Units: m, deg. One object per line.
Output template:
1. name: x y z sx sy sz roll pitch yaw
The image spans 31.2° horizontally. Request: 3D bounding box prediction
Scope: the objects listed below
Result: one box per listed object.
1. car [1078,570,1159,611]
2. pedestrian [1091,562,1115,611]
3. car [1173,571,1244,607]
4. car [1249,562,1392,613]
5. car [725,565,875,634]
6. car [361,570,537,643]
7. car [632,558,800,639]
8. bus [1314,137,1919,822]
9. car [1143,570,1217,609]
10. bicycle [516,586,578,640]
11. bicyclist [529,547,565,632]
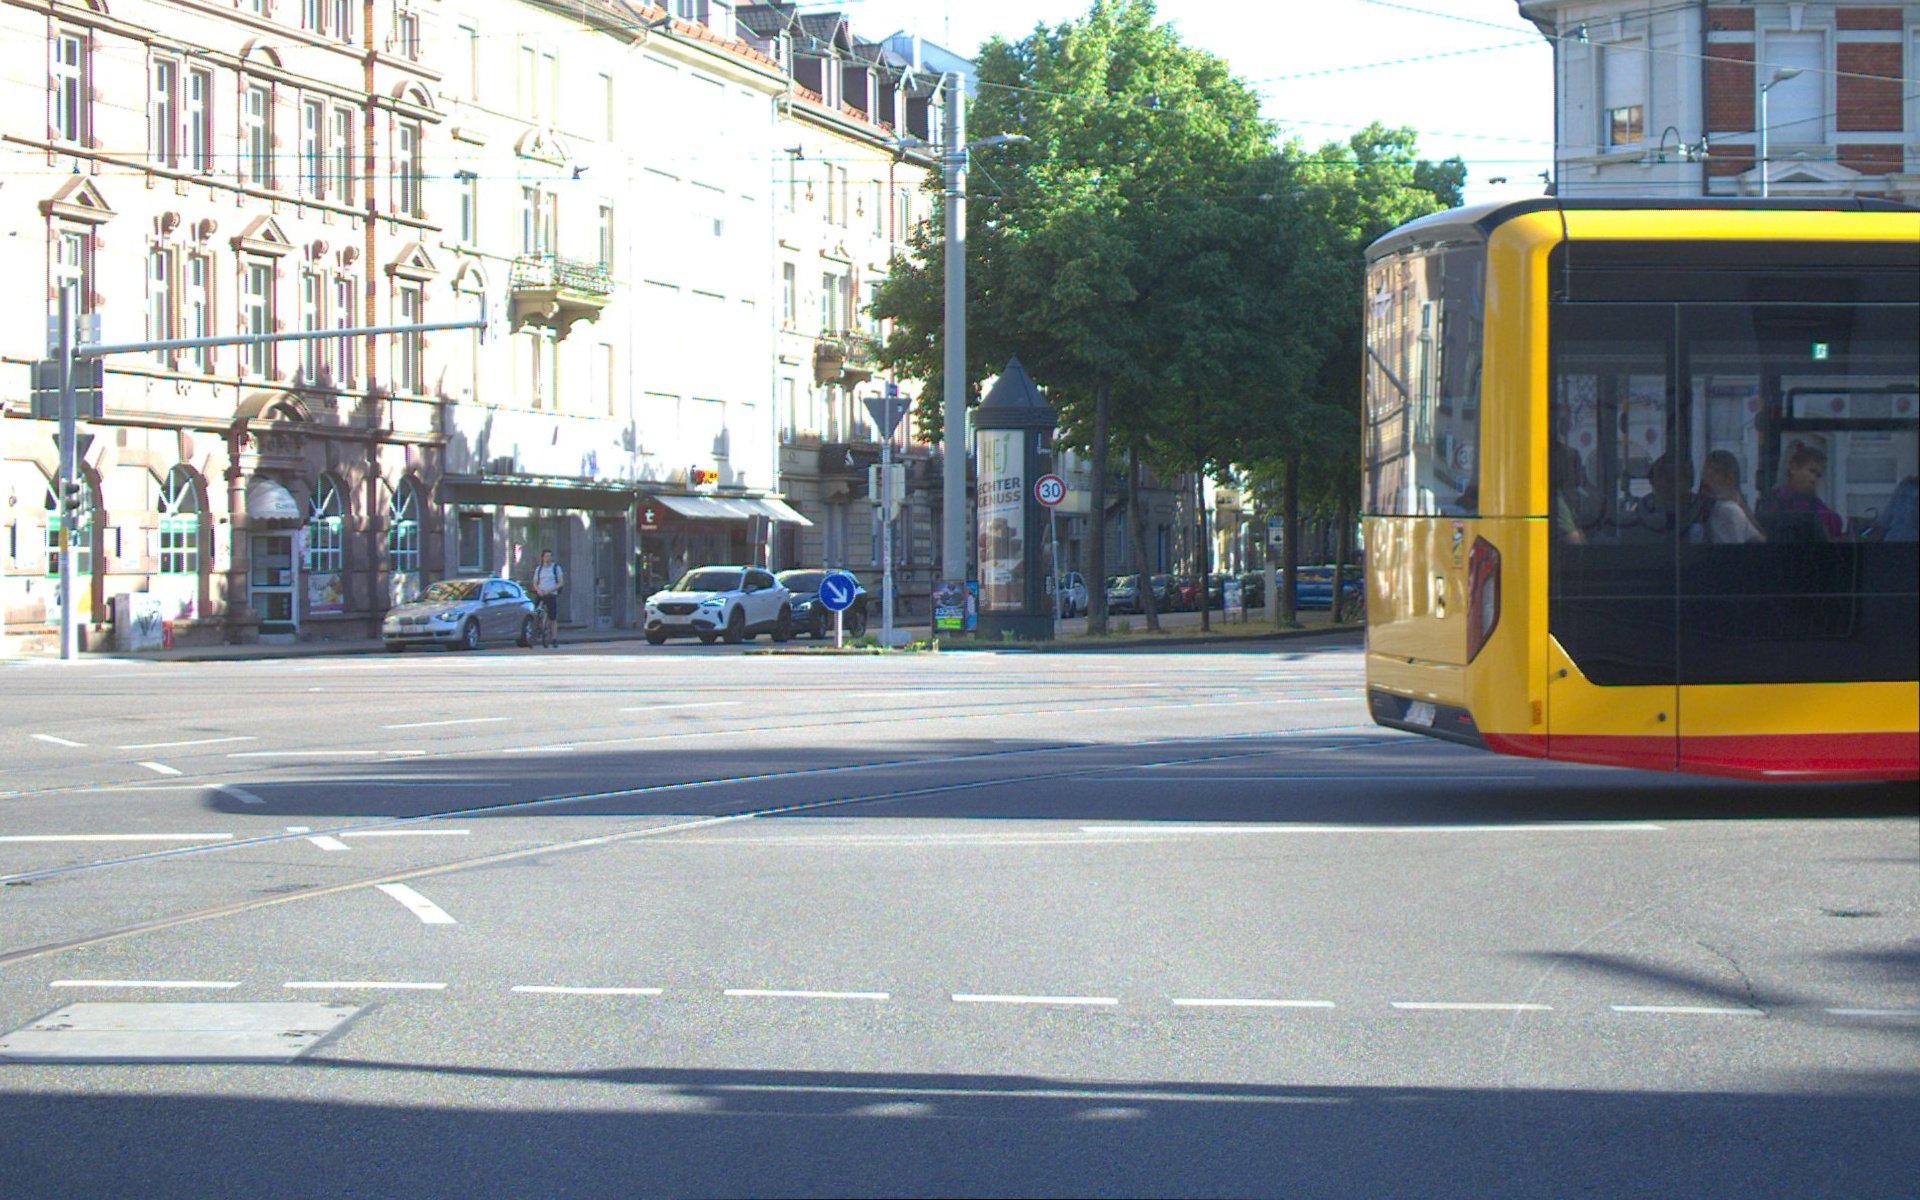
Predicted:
1. car: 5.663 -0.337 122.575 1.995 1.400 4.166 0 1 16
2. pedestrian: 4.077 -0.379 97.888 0.547 1.380 0.625 0 1 16
3. car: 9.894 -0.446 136.599 1.995 1.400 4.166 0 1 16
4. car: 10.456 -0.360 99.680 3.989 1.450 1.681 0 1 11
5. car: -3.392 -0.039 73.641 1.995 1.400 4.166 0 1 16
6. car: -9.921 0.104 67.041 1.995 1.357 3.816 0 1 16
7. car: -4.745 -0.051 67.467 1.995 1.511 4.166 0 1 16
8. bus: 6.542 -0.637 19.269 8.612 3.445 2.788 0 2 -8
9. car: 8.416 -0.415 131.402 1.995 1.400 4.166 0 1 16
10. bicycle: -7.841 0.234 65.297 0.655 0.997 1.664 1 1 12
11. bicyclist: -7.833 -0.201 65.190 0.489 1.596 0.666 0 1 10
